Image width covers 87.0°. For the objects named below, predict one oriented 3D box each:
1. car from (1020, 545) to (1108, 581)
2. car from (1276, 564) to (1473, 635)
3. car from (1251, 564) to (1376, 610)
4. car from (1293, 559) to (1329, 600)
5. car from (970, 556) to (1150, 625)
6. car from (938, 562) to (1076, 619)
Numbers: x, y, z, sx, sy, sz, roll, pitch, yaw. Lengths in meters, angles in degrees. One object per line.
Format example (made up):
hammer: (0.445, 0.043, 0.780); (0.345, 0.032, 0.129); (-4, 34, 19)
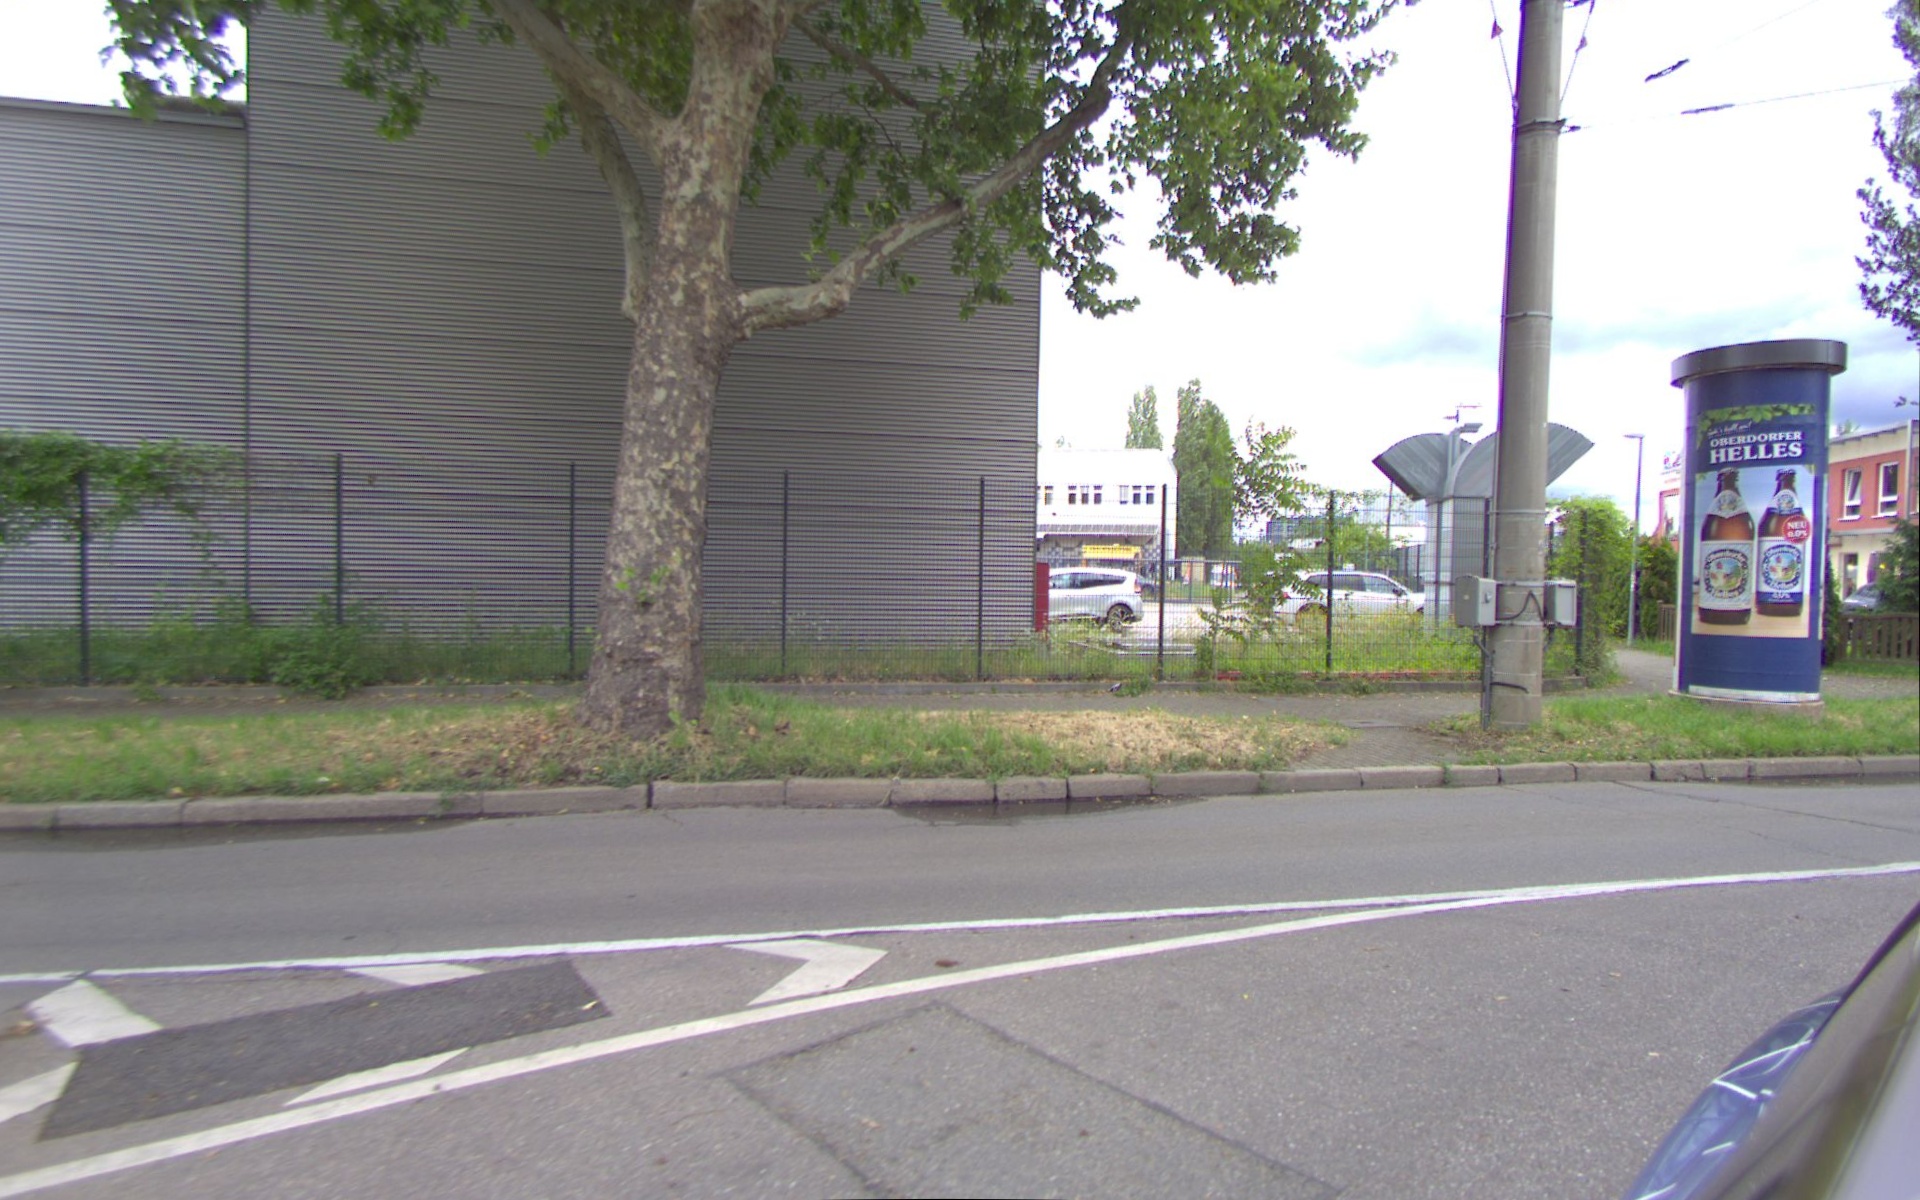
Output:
car: (5.241, -1.843, 50.628); (4.204, 1.671, 1.993); (0, -1, 12)
car: (10.588, -0.067, 26.204); (4.436, 1.686, 1.991); (1, 2, 15)
car: (13.892, -0.531, 40.027); (4.436, 1.686, 1.991); (1, 2, 15)
car: (27.197, -1.533, 78.632); (1.943, 3.001, 5.568); (0, -1, 12)
car: (2.540, -0.214, 26.166); (4.181, 1.671, 2.004); (0, -1, -15)
car: (1.581, -0.341, 32.671); (1.995, 1.686, 4.429); (2, 2, 45)
